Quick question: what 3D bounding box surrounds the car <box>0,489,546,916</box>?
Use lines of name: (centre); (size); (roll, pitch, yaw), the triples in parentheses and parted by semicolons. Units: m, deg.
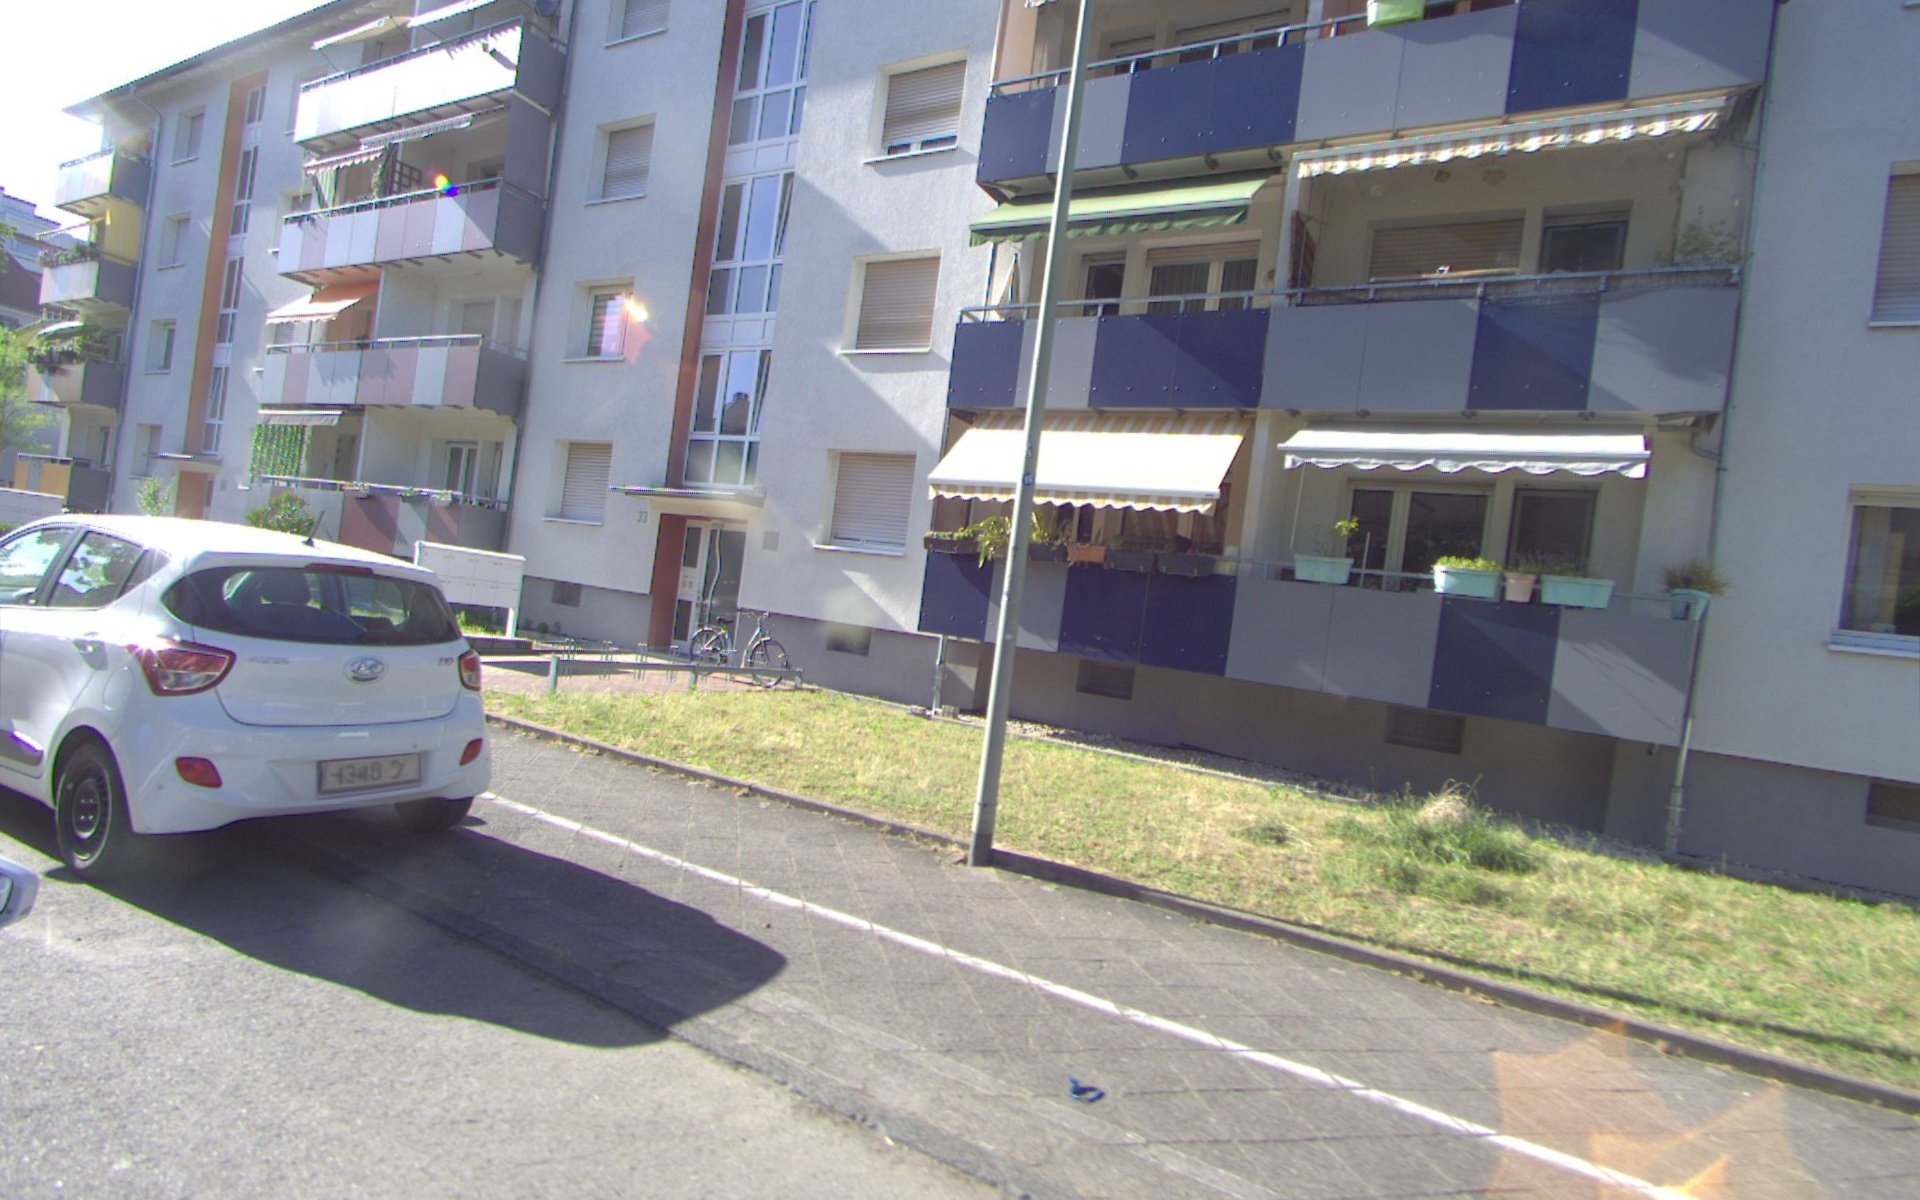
car: (-4.319, 0.284, 5.389); (3.794, 1.517, 1.752); (7, -1, 28)

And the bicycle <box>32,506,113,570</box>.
bicycle: (-18.815, -1.329, 21.316); (1.980, 1.190, 0.597); (5, -2, 30)

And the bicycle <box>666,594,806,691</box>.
bicycle: (-3.127, 0.567, 13.955); (1.976, 1.085, 0.524); (7, 2, 30)
